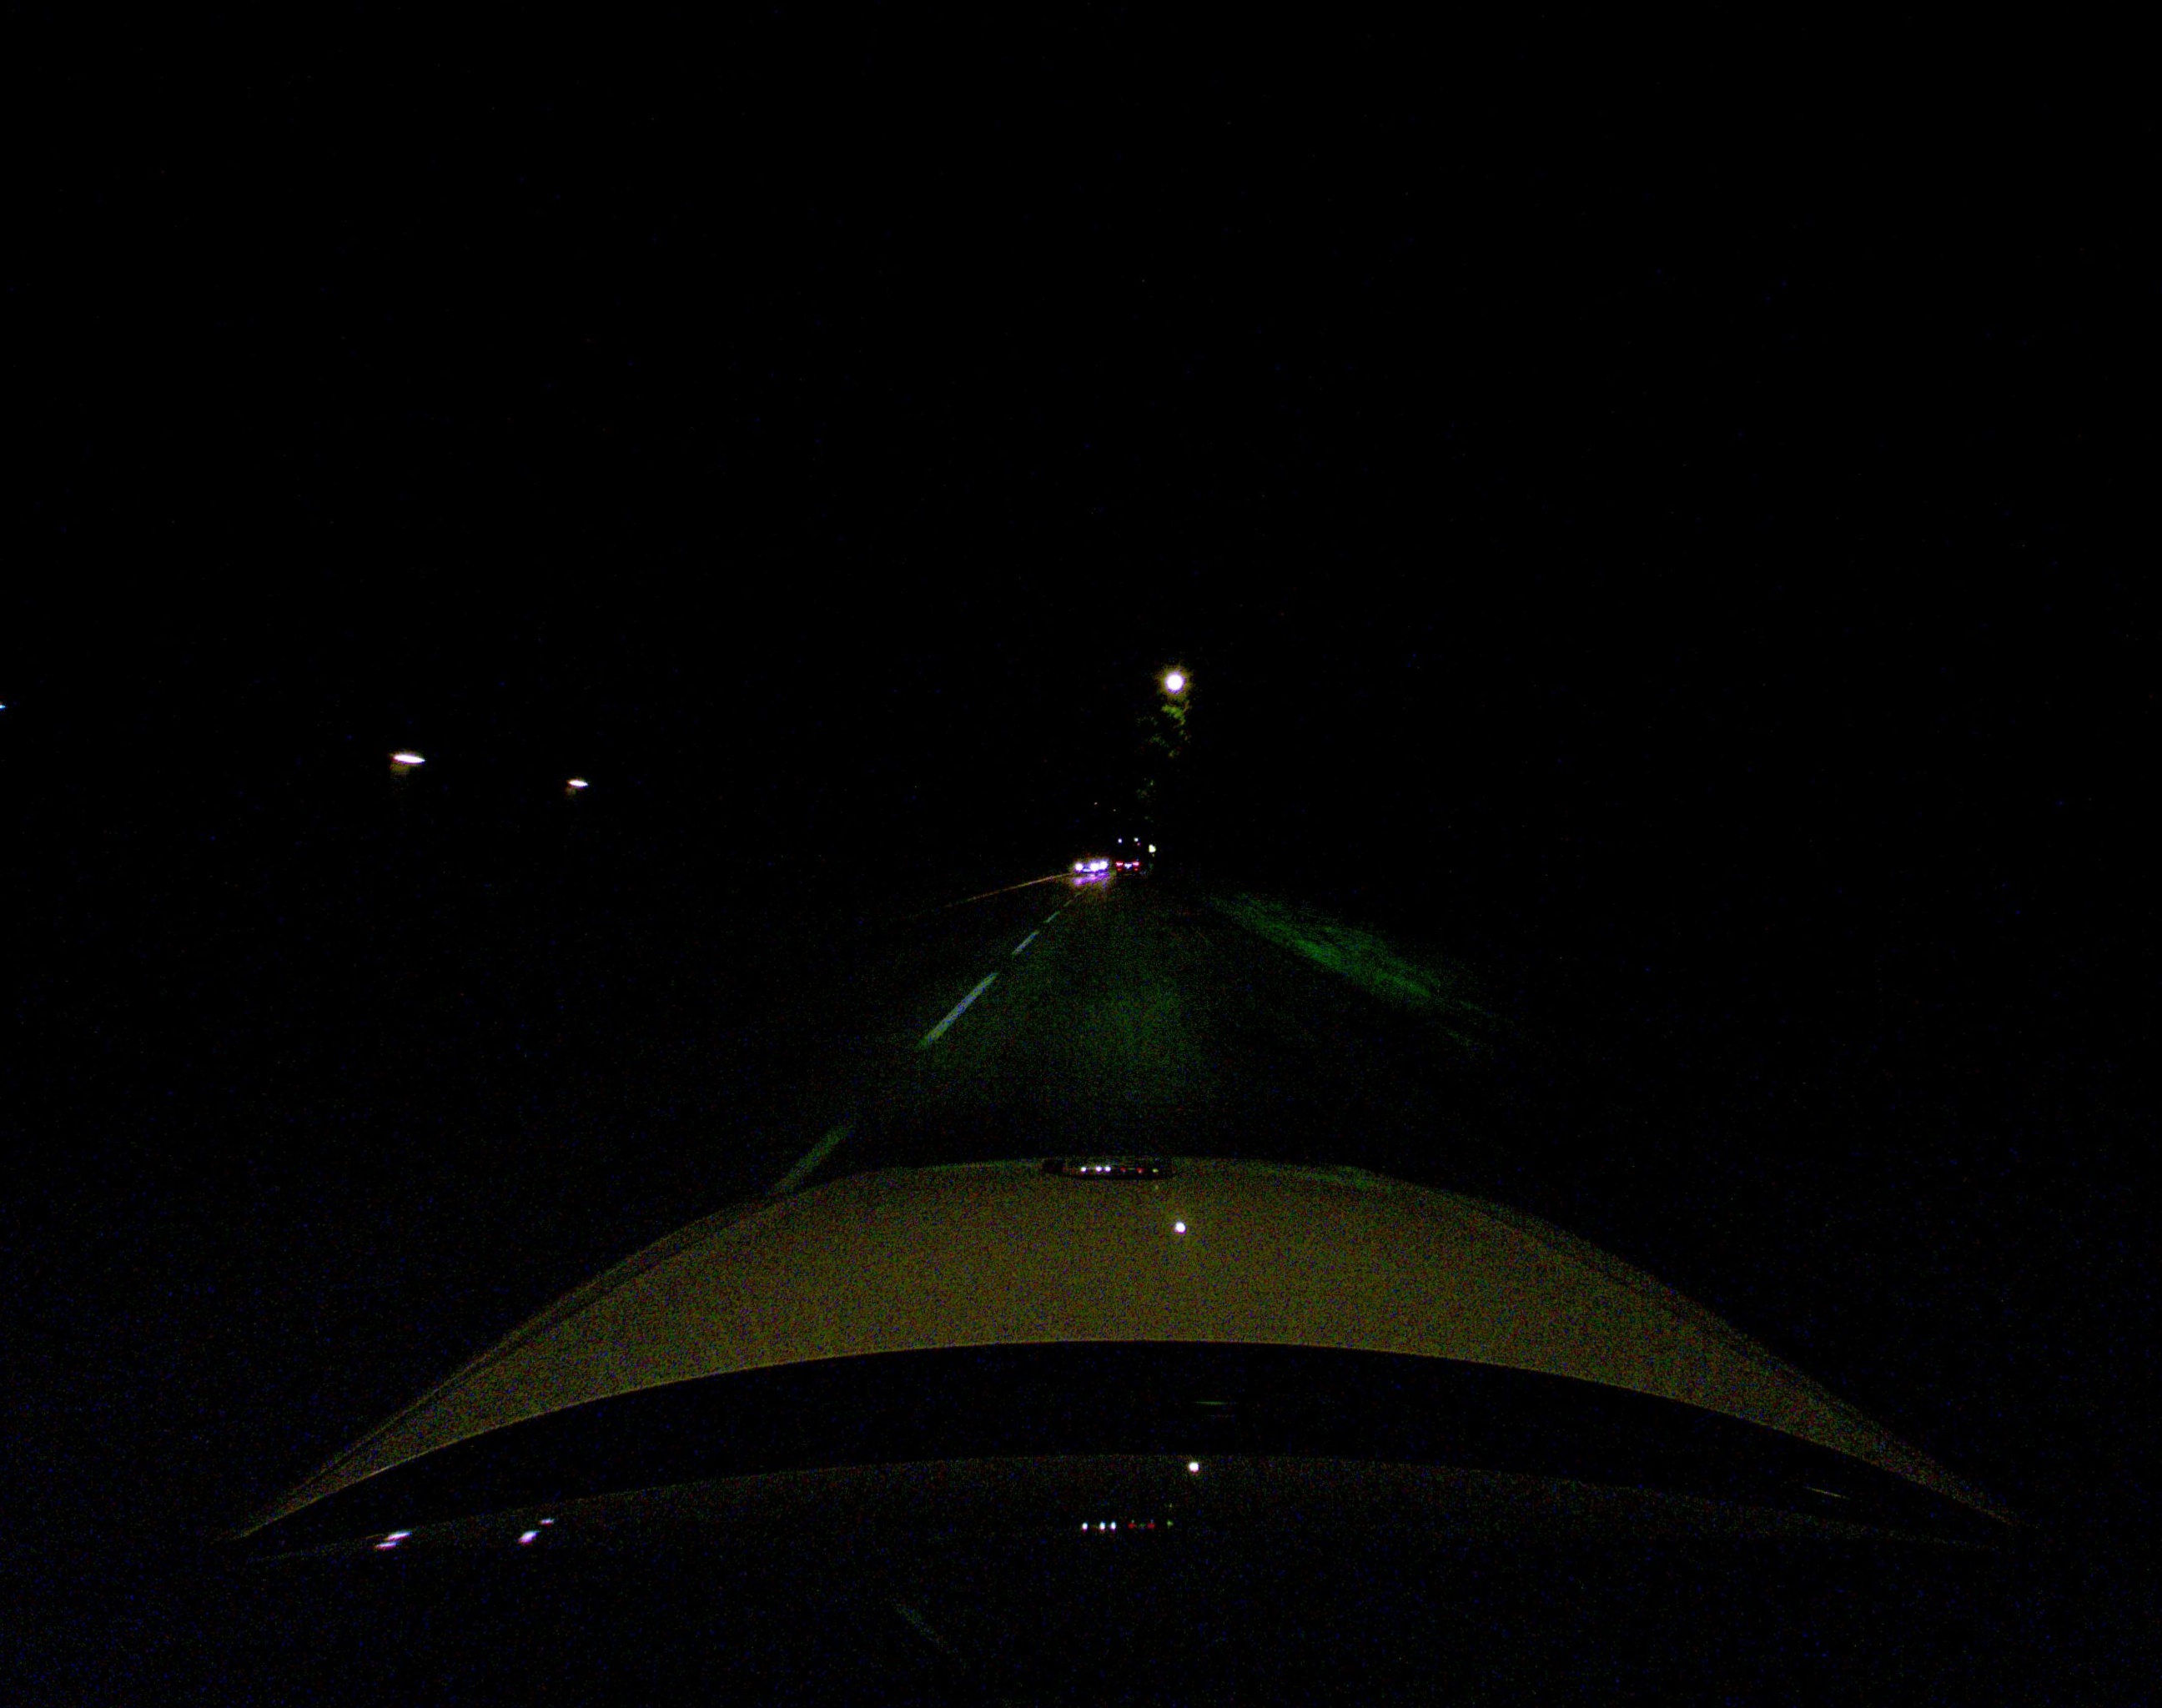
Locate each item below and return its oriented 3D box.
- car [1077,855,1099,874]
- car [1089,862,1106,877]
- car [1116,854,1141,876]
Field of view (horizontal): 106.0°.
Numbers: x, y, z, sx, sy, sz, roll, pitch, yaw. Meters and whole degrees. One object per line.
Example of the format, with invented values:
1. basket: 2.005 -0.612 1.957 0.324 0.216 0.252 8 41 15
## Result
1. car: 0.613 0.874 68.314 1.680 1.457 4.003 -1 -1 3
2. car: 1.757 1.600 84.827 1.641 1.491 3.559 -1 0 2
3. car: 3.706 0.847 63.609 1.757 1.642 3.722 -1 0 0
